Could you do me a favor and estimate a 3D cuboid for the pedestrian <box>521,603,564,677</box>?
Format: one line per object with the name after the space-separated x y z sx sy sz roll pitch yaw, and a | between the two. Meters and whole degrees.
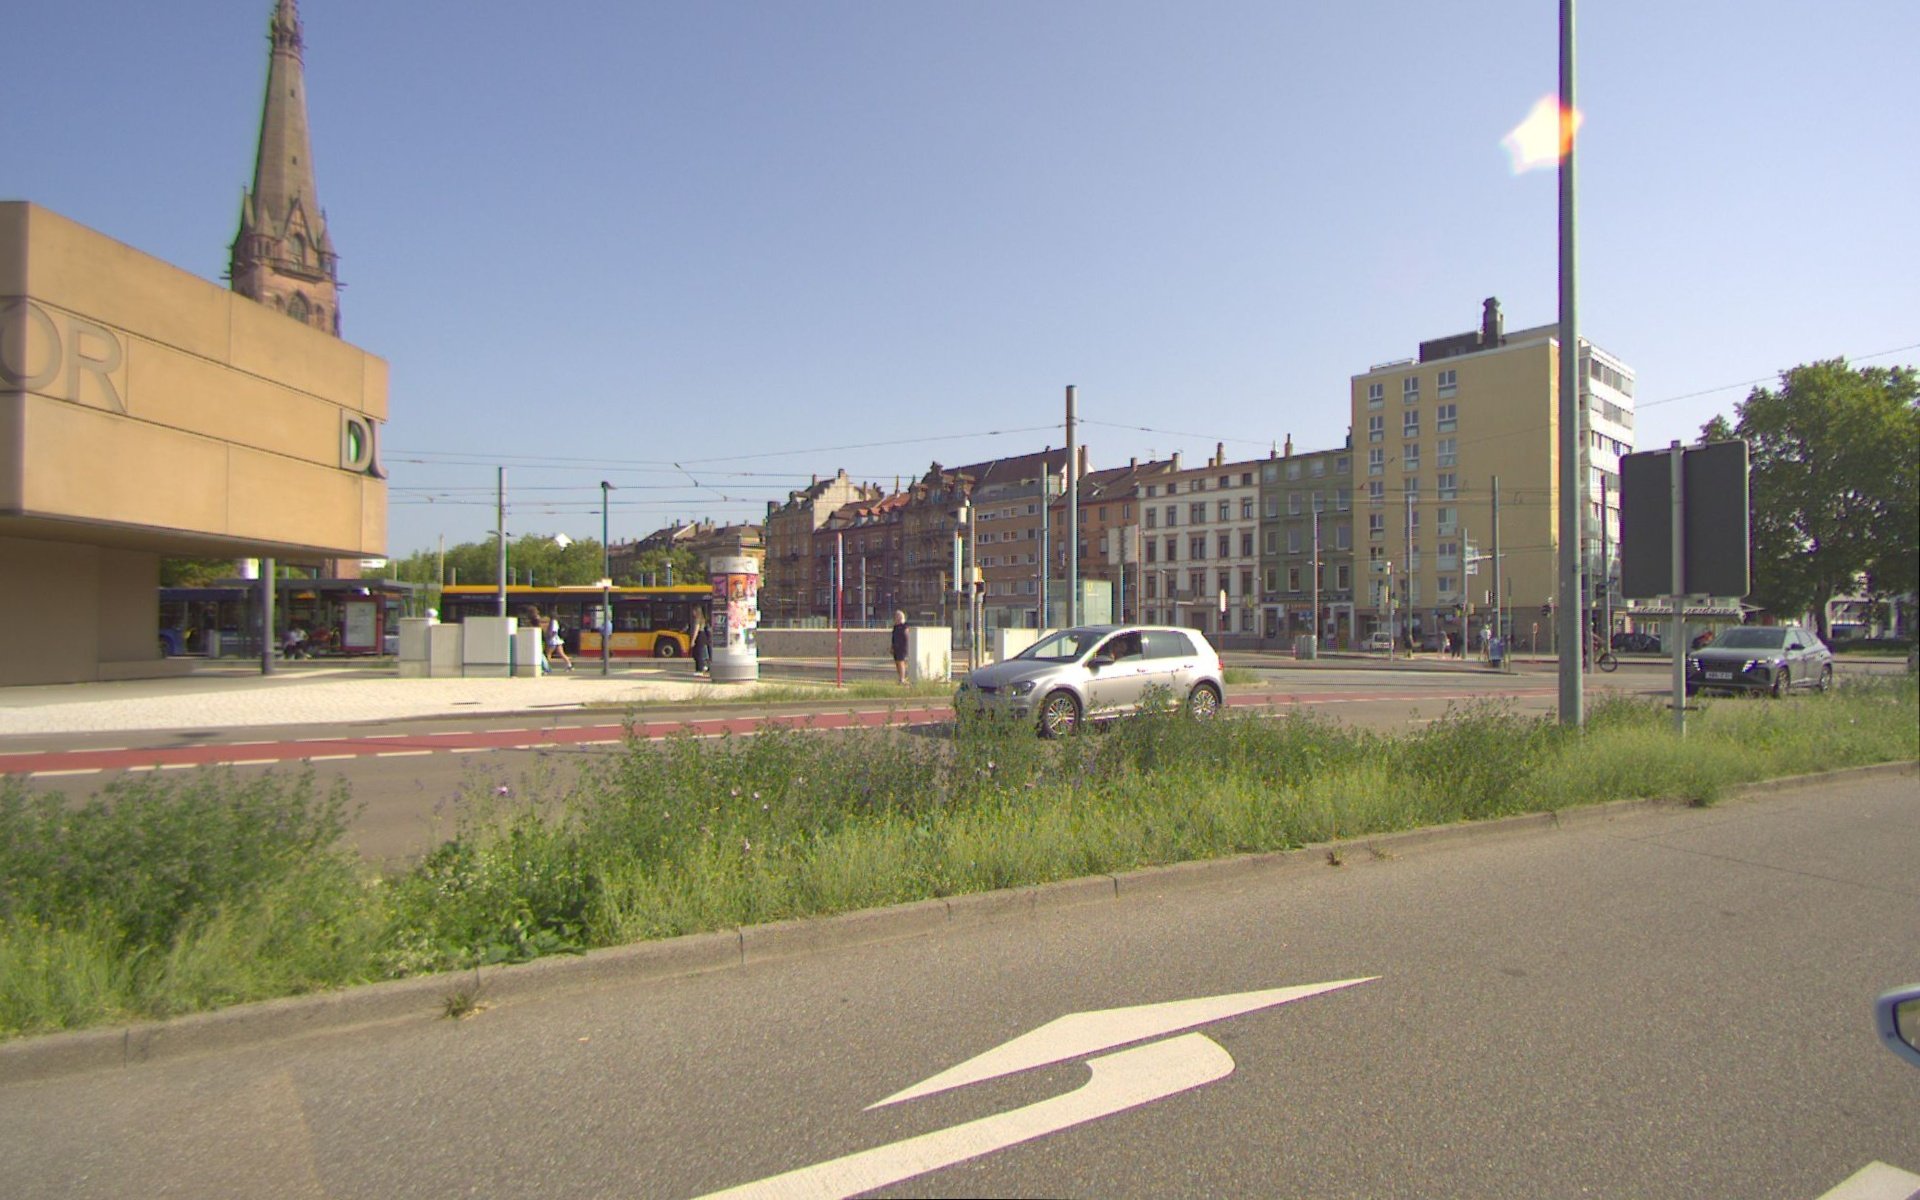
-10.238 0.980 24.667 0.852 1.793 0.986 1 -2 -17 | pedestrian

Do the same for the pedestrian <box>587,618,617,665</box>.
-13.495 1.570 37.902 0.819 1.761 0.831 0 -1 0 | pedestrian

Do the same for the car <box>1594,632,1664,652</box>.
49.242 3.062 73.975 1.471 1.372 4.116 2 -2 -43 | car

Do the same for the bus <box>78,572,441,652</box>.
-28.110 0.512 40.663 12.540 3.017 3.301 0 -2 2 | bus

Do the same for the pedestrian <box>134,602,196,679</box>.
-18.398 0.935 23.265 0.717 1.727 0.866 0 -2 -1 | pedestrian

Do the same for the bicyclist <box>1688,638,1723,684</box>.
27.891 2.253 37.563 0.719 1.674 0.875 1 -1 -36 | bicyclist

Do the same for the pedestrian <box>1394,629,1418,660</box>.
25.090 2.475 56.519 0.916 1.712 0.913 2 -1 -43 | pedestrian

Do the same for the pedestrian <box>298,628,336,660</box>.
-23.140 1.577 36.155 0.724 1.148 1.030 1 -2 -6 | pedestrian

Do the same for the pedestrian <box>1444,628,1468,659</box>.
27.212 2.375 55.139 0.916 1.712 0.913 2 -1 -43 | pedestrian

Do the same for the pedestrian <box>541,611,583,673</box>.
-10.308 1.079 26.048 0.851 1.583 0.988 1 -2 -12 | pedestrian

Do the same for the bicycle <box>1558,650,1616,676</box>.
24.645 2.478 39.513 0.719 0.944 1.800 1 -2 -36 | bicycle

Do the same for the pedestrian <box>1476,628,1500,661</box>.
28.259 2.381 53.784 0.916 1.712 0.913 2 -1 -43 | pedestrian

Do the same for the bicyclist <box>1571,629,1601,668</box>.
24.634 1.899 39.539 0.719 1.547 0.788 1 -1 -36 | bicyclist

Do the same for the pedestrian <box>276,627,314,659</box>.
-23.989 1.551 36.233 0.724 1.148 1.030 1 -2 -6 | pedestrian

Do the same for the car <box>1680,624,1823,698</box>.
19.066 1.412 24.137 4.421 1.638 1.681 2 -2 -38 | car

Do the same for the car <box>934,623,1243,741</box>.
1.876 1.075 14.226 4.178 1.452 1.804 2 -2 -32 | car

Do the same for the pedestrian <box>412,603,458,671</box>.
-13.441 0.936 25.700 0.858 1.694 0.979 2 -2 -38 | pedestrian

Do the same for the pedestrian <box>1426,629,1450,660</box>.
26.715 2.470 56.129 0.916 1.712 0.913 2 -1 -43 | pedestrian

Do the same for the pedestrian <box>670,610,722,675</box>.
-6.610 1.056 25.170 0.970 1.579 0.866 0 -2 9 | pedestrian

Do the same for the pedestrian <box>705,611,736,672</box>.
-7.338 1.261 30.746 0.693 1.824 0.773 1 -2 -33 | pedestrian

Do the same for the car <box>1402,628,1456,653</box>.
33.434 2.868 71.667 1.960 1.701 4.552 1 -1 3 | car

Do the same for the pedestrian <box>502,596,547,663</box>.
-11.449 0.782 26.400 0.858 1.727 0.979 2 -2 -38 | pedestrian

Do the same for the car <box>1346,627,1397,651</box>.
30.919 2.914 75.559 1.961 1.701 4.550 1 -1 0 | car

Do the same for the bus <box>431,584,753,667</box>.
-14.627 1.032 40.398 11.970 3.149 2.718 0 -2 2 | bus

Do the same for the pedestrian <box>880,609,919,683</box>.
-1.548 1.161 25.493 0.693 1.824 0.773 1 -2 -33 | pedestrian

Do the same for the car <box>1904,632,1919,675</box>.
35.185 1.903 35.973 1.867 1.471 3.656 -1 -2 41 | car
